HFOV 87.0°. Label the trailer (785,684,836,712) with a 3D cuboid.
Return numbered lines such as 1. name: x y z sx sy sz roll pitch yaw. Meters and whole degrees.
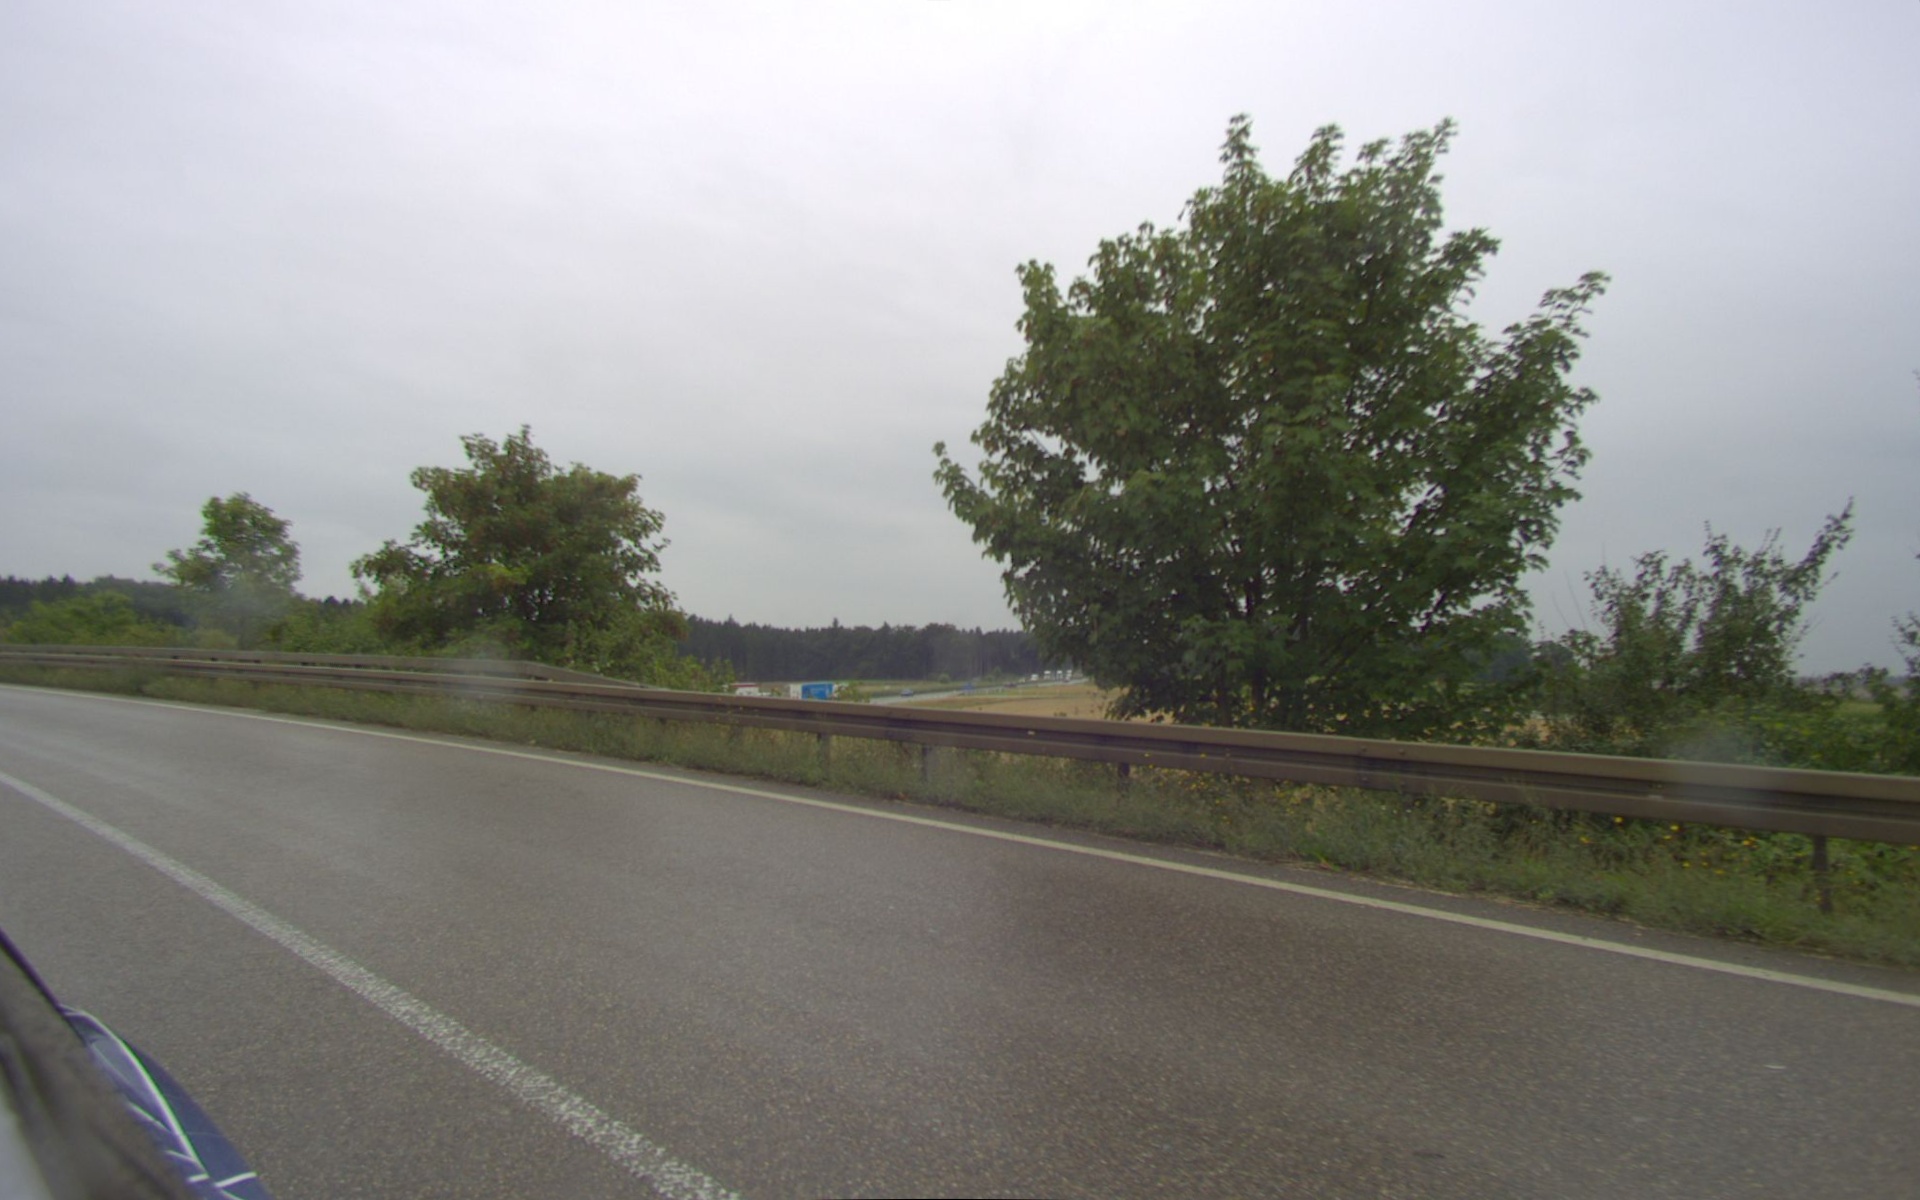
1. trailer: -25.248 16.551 172.539 2.857 4.251 14.288 -1 -4 17
